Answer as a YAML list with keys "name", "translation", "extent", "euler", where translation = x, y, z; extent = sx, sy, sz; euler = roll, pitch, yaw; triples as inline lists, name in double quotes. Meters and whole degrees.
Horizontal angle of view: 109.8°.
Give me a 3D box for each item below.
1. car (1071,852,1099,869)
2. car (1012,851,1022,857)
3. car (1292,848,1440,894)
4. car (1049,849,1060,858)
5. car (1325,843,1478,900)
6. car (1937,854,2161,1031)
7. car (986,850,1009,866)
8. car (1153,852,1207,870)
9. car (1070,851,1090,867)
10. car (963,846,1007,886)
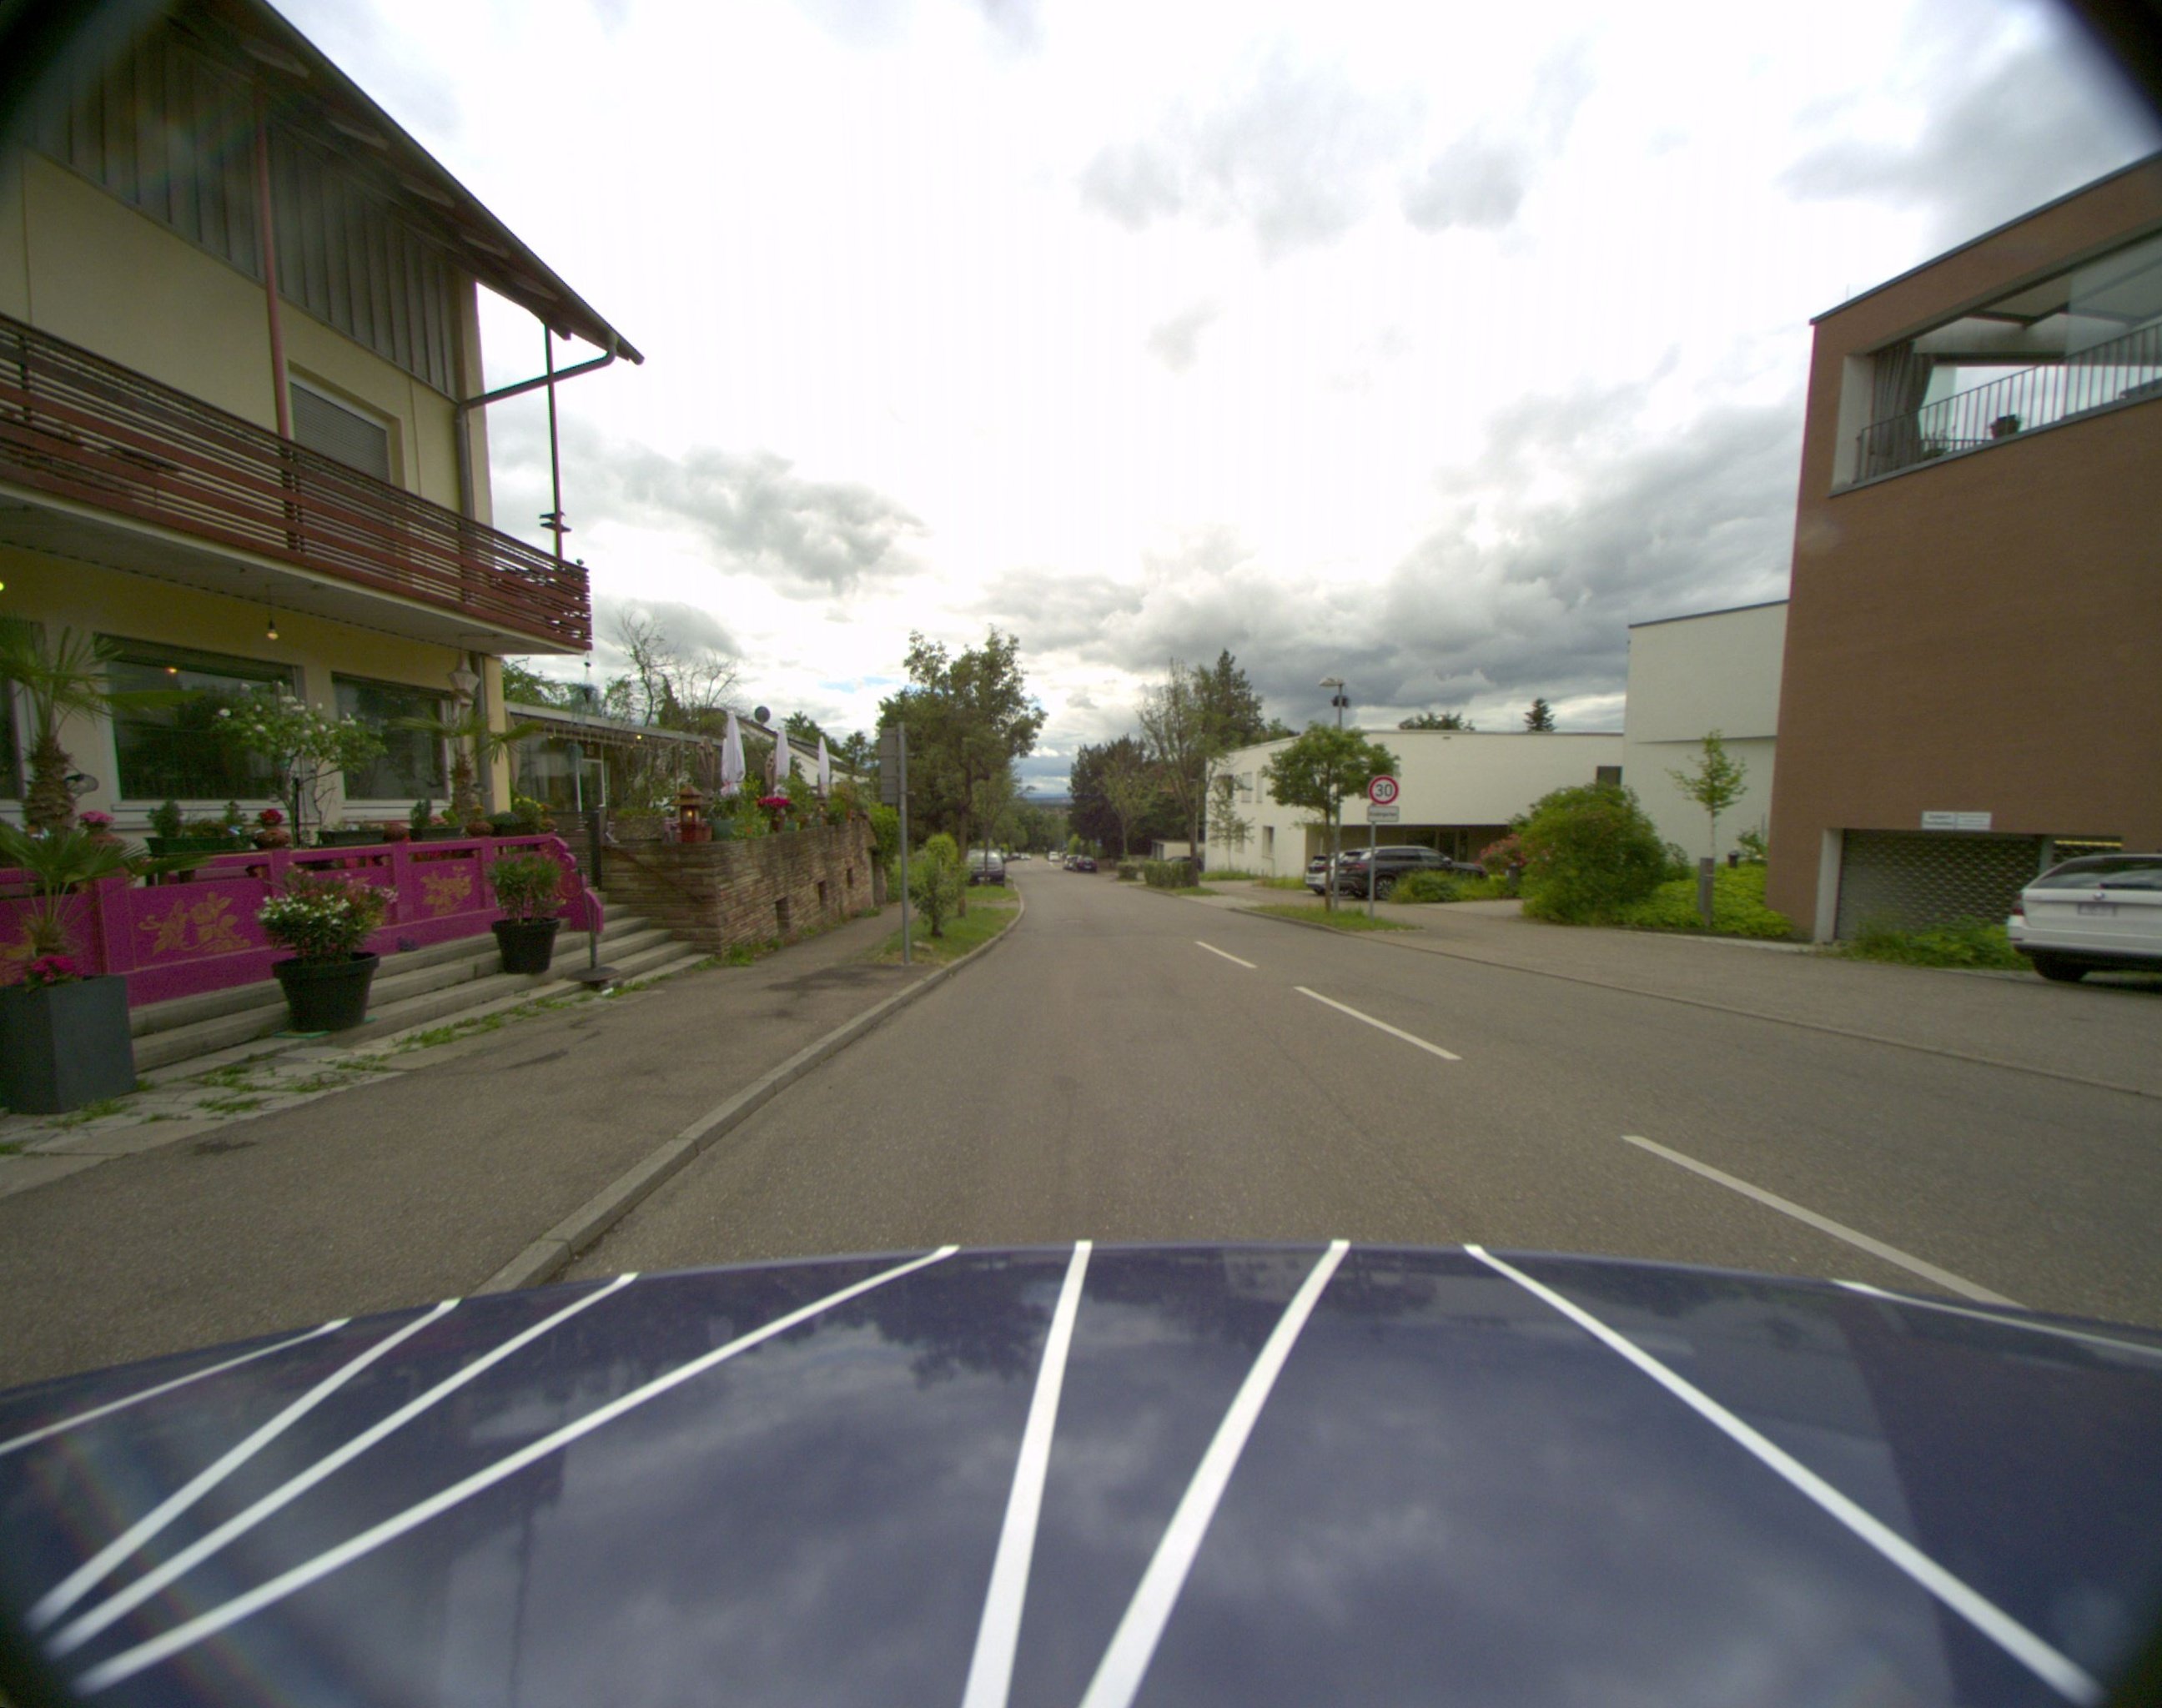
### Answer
- name: "car"
  translation: [0.310, 0.538, 67.271]
  extent: [1.856, 1.461, 4.679]
  euler: [0, 0, -7]
- name: "car"
  translation: [-14.262, -0.023, 169.382]
  extent: [1.999, 1.221, 3.998]
  euler: [0, 1, -3]
- name: "car"
  translation: [9.977, 0.575, 26.805]
  extent: [4.400, 1.557, 2.065]
  euler: [0, 0, -7]
- name: "car"
  translation: [-4.353, -0.032, 123.708]
  extent: [1.694, 1.411, 3.578]
  euler: [2, 0, -2]
- name: "car"
  translation: [10.029, 0.518, 23.977]
  extent: [3.999, 1.644, 2.007]
  euler: [-1, 1, -5]
- name: "car"
  translation: [12.202, 0.874, 8.114]
  extent: [4.274, 1.614, 2.011]
  euler: [1, 2, -9]
- name: "car"
  translation: [-8.747, 0.436, 79.425]
  extent: [2.008, 1.599, 4.753]
  euler: [1, 0, -11]
- name: "car"
  translation: [7.596, 0.559, 58.515]
  extent: [3.808, 1.346, 1.739]
  euler: [0, 1, -12]
- name: "car"
  translation: [-0.084, 0.515, 75.314]
  extent: [1.629, 1.510, 2.973]
  euler: [0, 1, -7]
- name: "car"
  translation: [-4.546, 0.513, 36.595]
  extent: [1.942, 1.827, 5.215]
  euler: [0, 1, -6]
